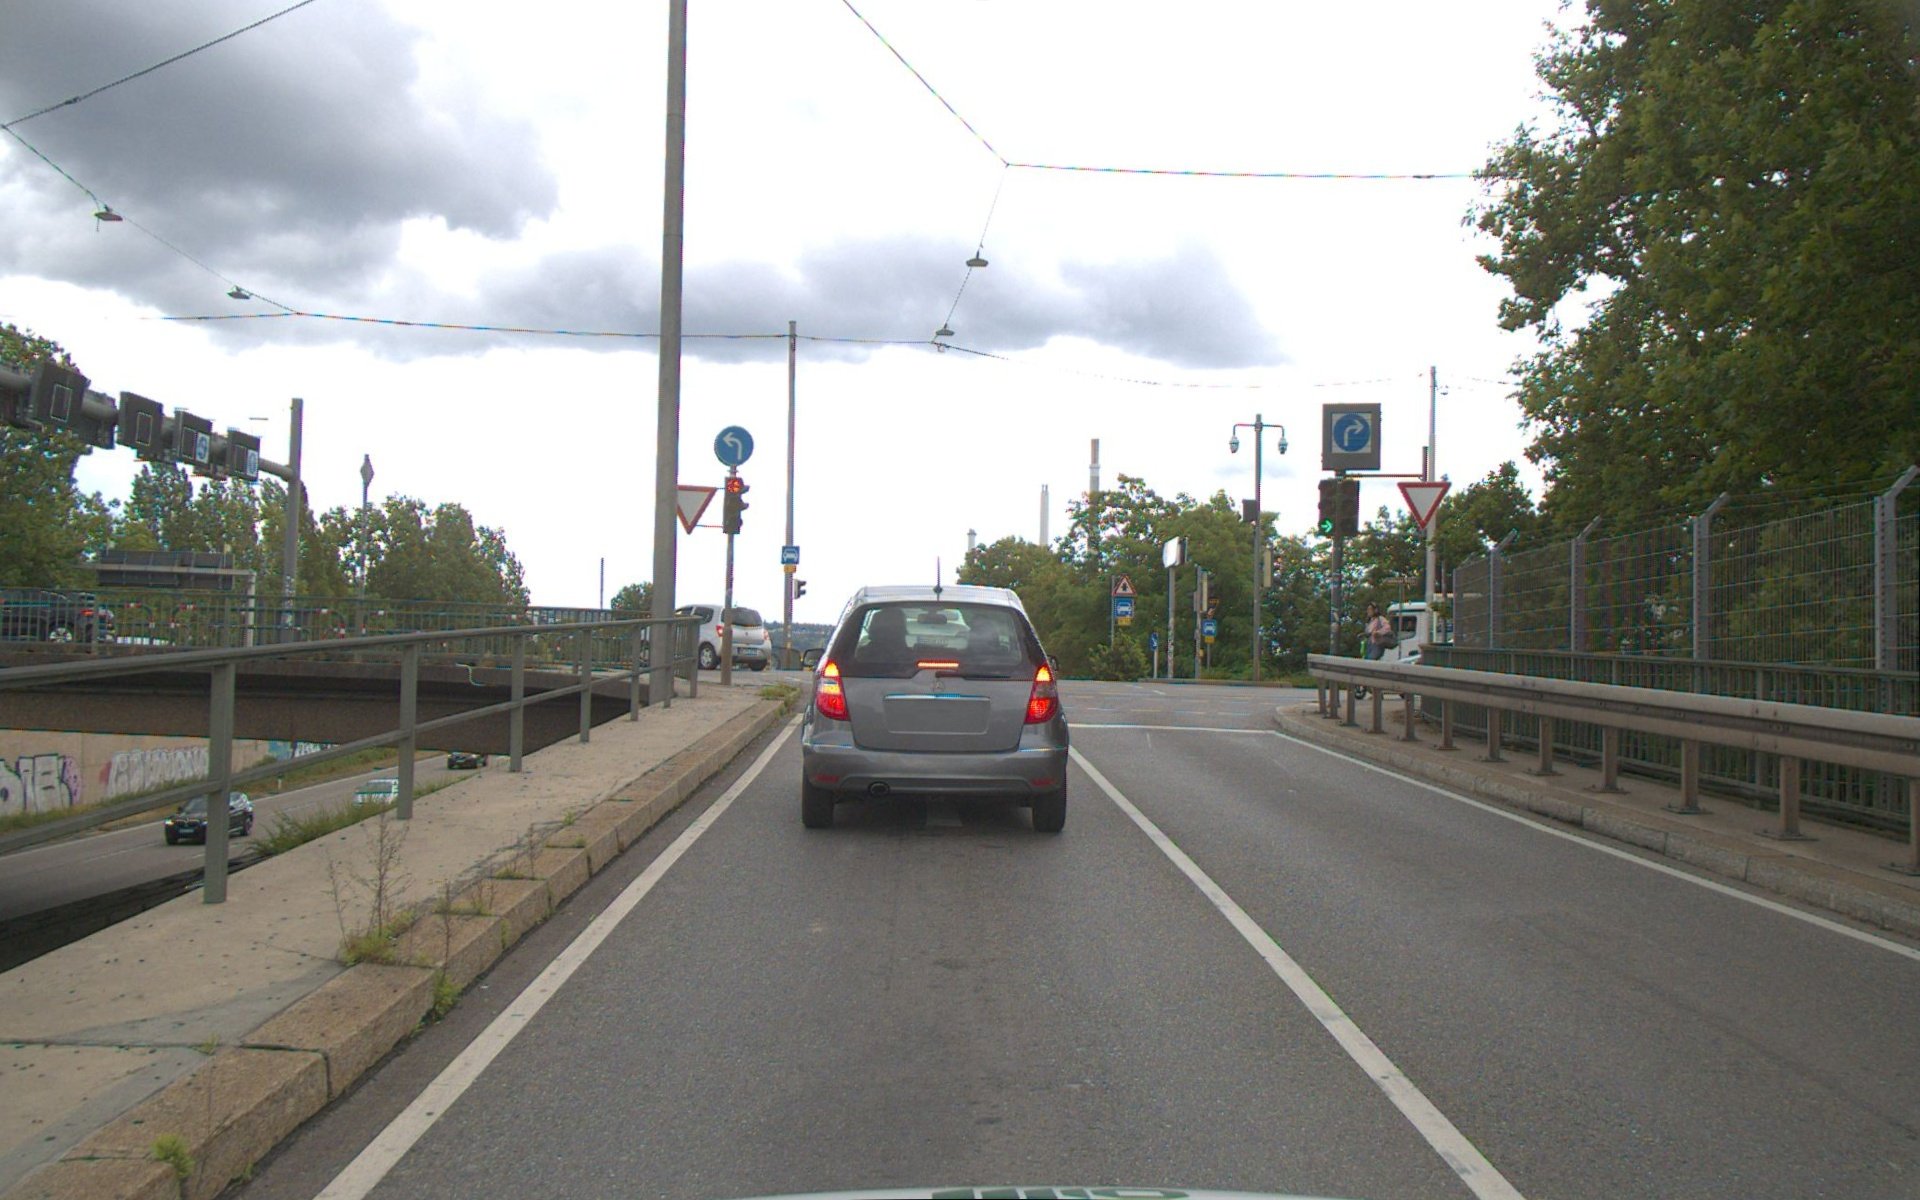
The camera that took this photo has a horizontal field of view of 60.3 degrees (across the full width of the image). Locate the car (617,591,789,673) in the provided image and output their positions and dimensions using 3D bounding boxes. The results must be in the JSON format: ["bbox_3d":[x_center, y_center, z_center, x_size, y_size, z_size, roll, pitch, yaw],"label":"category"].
[{"bbox_3d":[-5.944,0.690,38.038,3.931,1.747,1.925,1,0,43],"label":"car"}]

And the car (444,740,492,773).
[{"bbox_3d":[-31.702,10.057,106.702,1.892,1.874,4.407,0,-3,-2],"label":"car"}]

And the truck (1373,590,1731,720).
[{"bbox_3d":[17.909,1.544,50.321,10.015,3.580,2.795,1,0,27],"label":"truck"}]

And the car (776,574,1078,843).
[{"bbox_3d":[-0.172,0.643,12.079,1.819,1.616,4.001,1,0,1],"label":"car"}]

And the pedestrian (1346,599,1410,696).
[{"bbox_3d":[7.442,0.861,29.489,0.816,1.707,0.978,0,-3,-4],"label":"pedestrian"}]

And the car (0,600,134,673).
[{"bbox_3d":[-23.188,0.899,41.491,3.907,1.747,1.936,1,0,-3],"label":"car"}]

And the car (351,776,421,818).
[{"bbox_3d":[-25.231,8.635,72.868,1.693,1.555,4.085,1,-3,-1],"label":"car"}]

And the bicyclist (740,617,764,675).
[{"bbox_3d":[-6.274,1.389,49.979,0.641,1.703,0.867,1,0,-12],"label":"bicyclist"}]

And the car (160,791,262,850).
[{"bbox_3d":[-27.842,8.167,61.636,1.877,1.769,4.550,0,-3,-2],"label":"car"}]

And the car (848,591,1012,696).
[{"bbox_3d":[-0.627,0.719,29.778,1.900,1.747,4.387,1,0,-16],"label":"car"}]

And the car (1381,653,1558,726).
[{"bbox_3d":[12.754,2.226,41.554,3.904,1.694,1.813,1,0,1],"label":"car"}]

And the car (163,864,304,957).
[{"bbox_3d":[-16.405,6.991,37.533,1.524,1.580,3.682,1,-3,0],"label":"car"}]

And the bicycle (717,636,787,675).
[{"bbox_3d":[-6.287,1.679,49.964,1.997,1.144,0.926,1,0,-13],"label":"bicycle"}]
